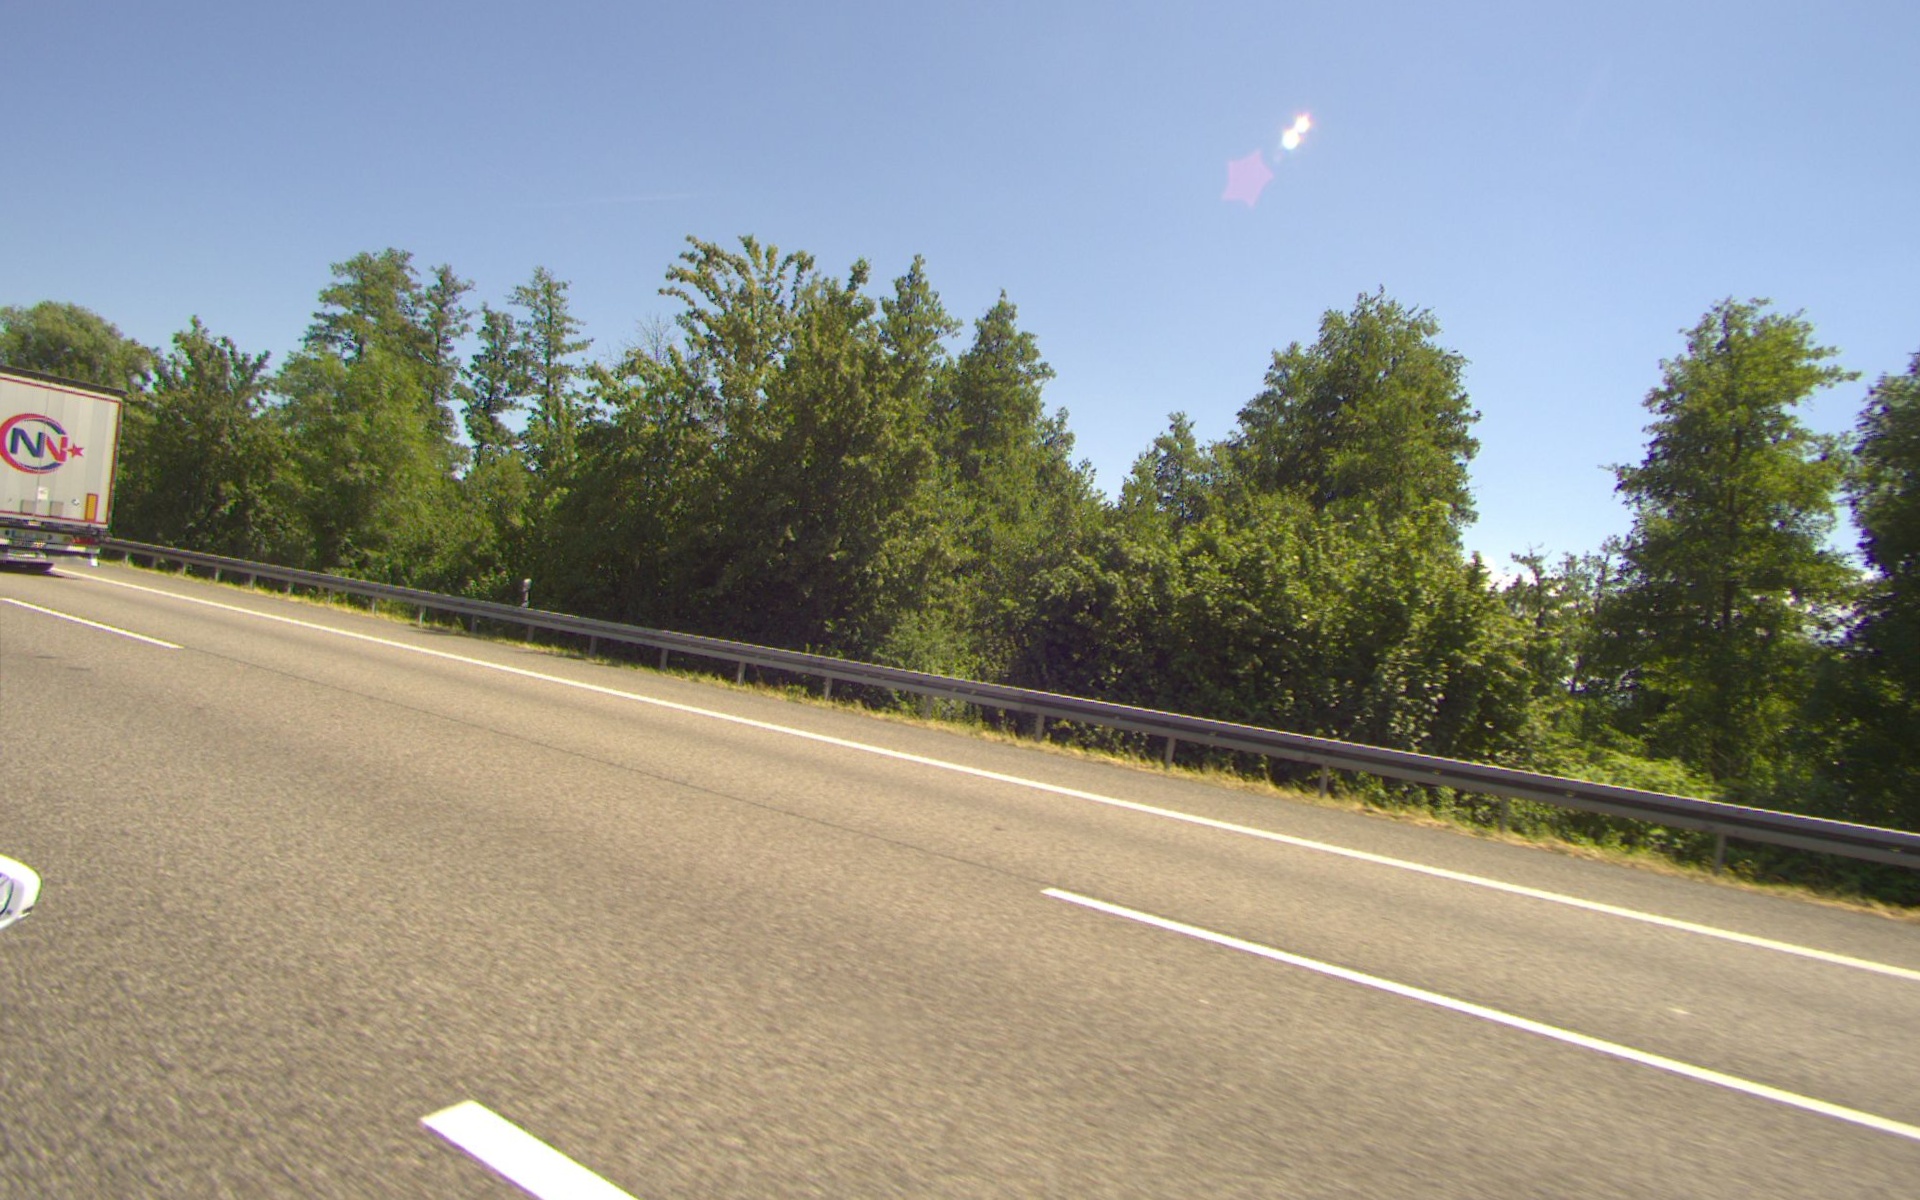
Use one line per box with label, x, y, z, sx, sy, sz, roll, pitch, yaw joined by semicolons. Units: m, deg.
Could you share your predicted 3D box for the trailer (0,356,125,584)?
trailer;-24.712;-3.267;24.115;13.828;4.311;2.628;6;-1;32
